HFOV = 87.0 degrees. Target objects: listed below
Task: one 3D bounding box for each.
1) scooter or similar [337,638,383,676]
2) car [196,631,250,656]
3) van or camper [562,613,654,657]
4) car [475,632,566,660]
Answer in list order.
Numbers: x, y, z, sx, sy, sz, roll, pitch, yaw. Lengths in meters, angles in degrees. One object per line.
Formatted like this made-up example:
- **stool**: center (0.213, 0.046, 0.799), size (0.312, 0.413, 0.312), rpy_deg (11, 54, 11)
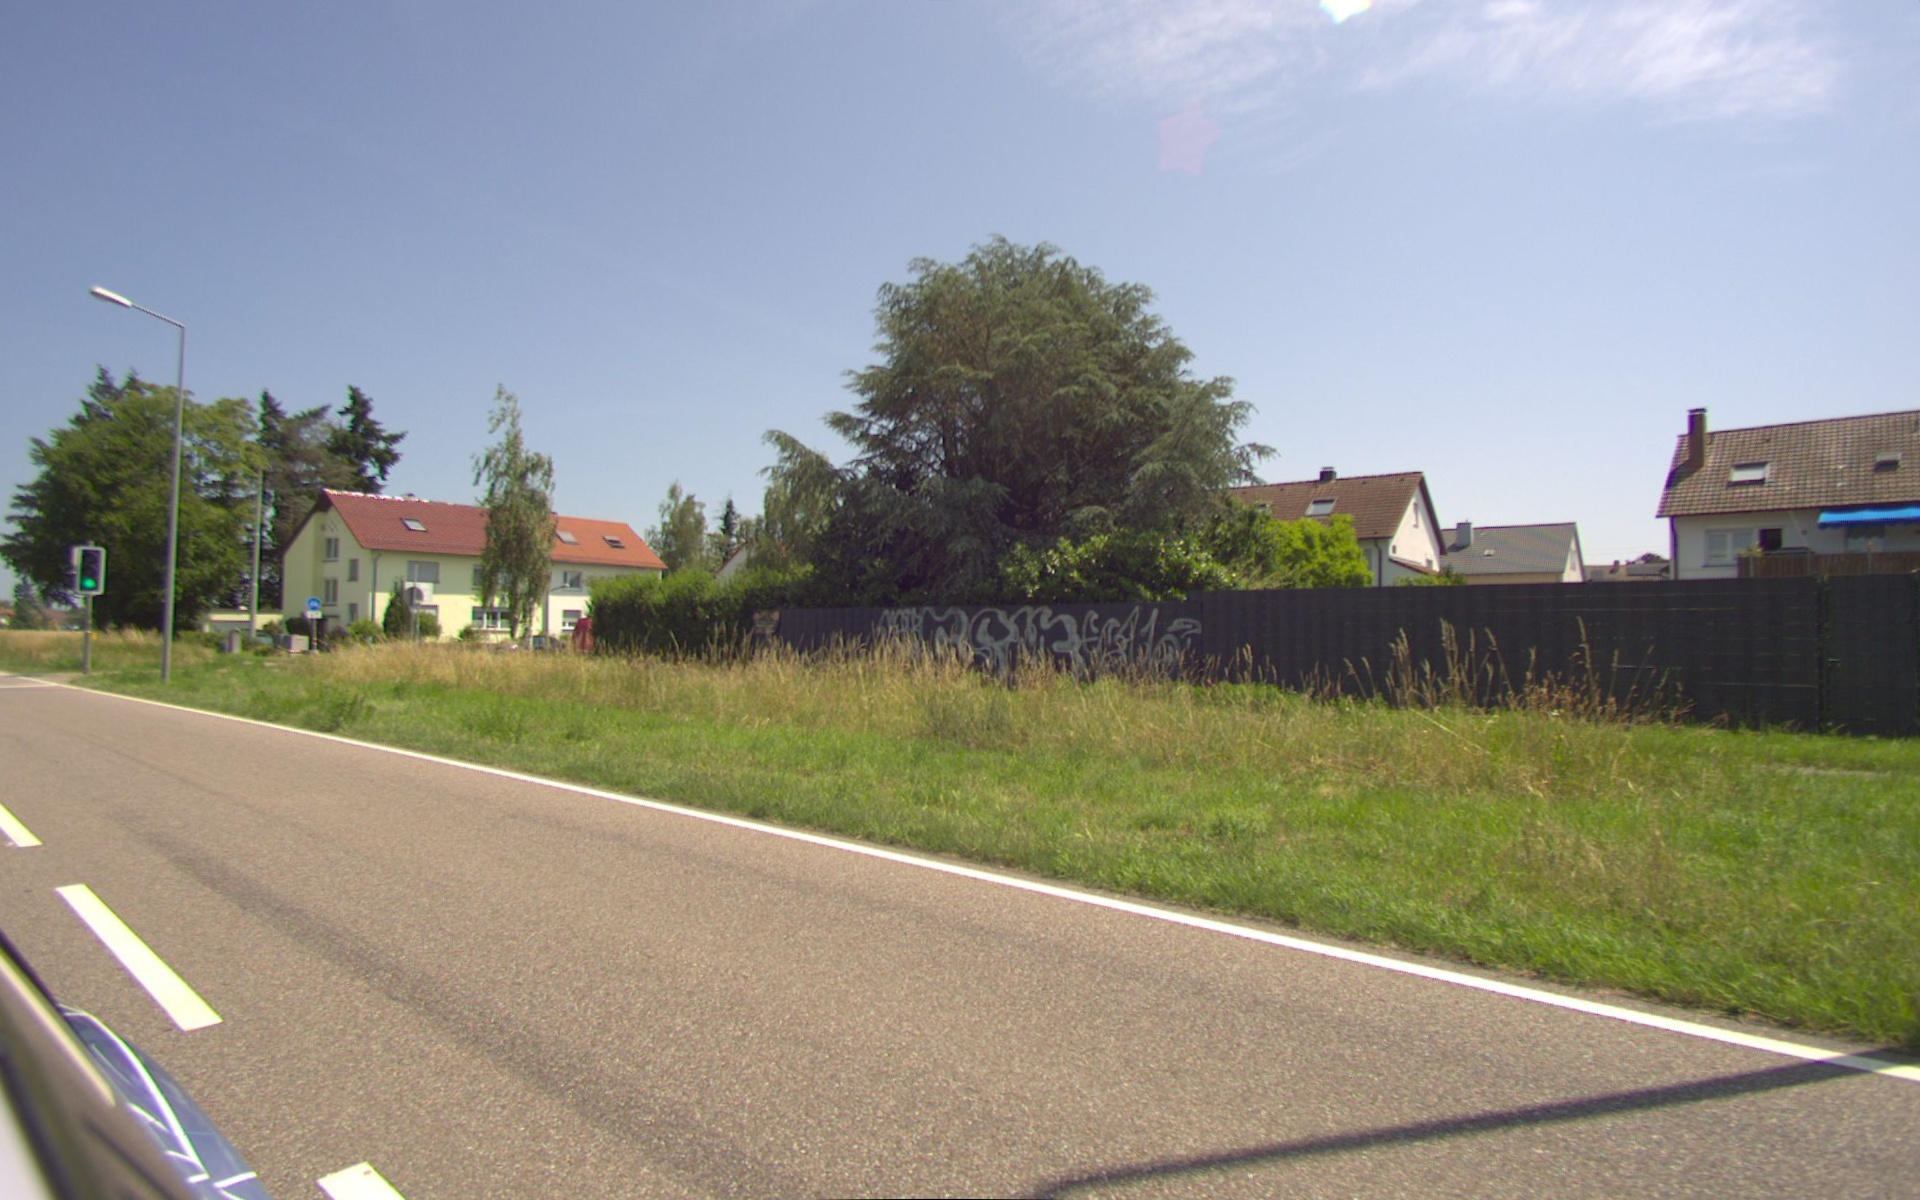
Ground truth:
- **scooter or similar**: center (-18.358, 1.738, 30.955), size (0.646, 1.136, 1.011), rpy_deg (-1, -3, 30)
- **car**: center (-46.371, 2.718, 63.624), size (4.181, 1.503, 1.690), rpy_deg (-1, -1, 39)
- **van or camper**: center (-20.065, 1.934, 57.855), size (1.995, 2.406, 4.713), rpy_deg (-1, -1, 35)
- **car**: center (-23.021, 2.375, 53.116), size (1.995, 1.364, 3.953), rpy_deg (-1, -1, 35)
